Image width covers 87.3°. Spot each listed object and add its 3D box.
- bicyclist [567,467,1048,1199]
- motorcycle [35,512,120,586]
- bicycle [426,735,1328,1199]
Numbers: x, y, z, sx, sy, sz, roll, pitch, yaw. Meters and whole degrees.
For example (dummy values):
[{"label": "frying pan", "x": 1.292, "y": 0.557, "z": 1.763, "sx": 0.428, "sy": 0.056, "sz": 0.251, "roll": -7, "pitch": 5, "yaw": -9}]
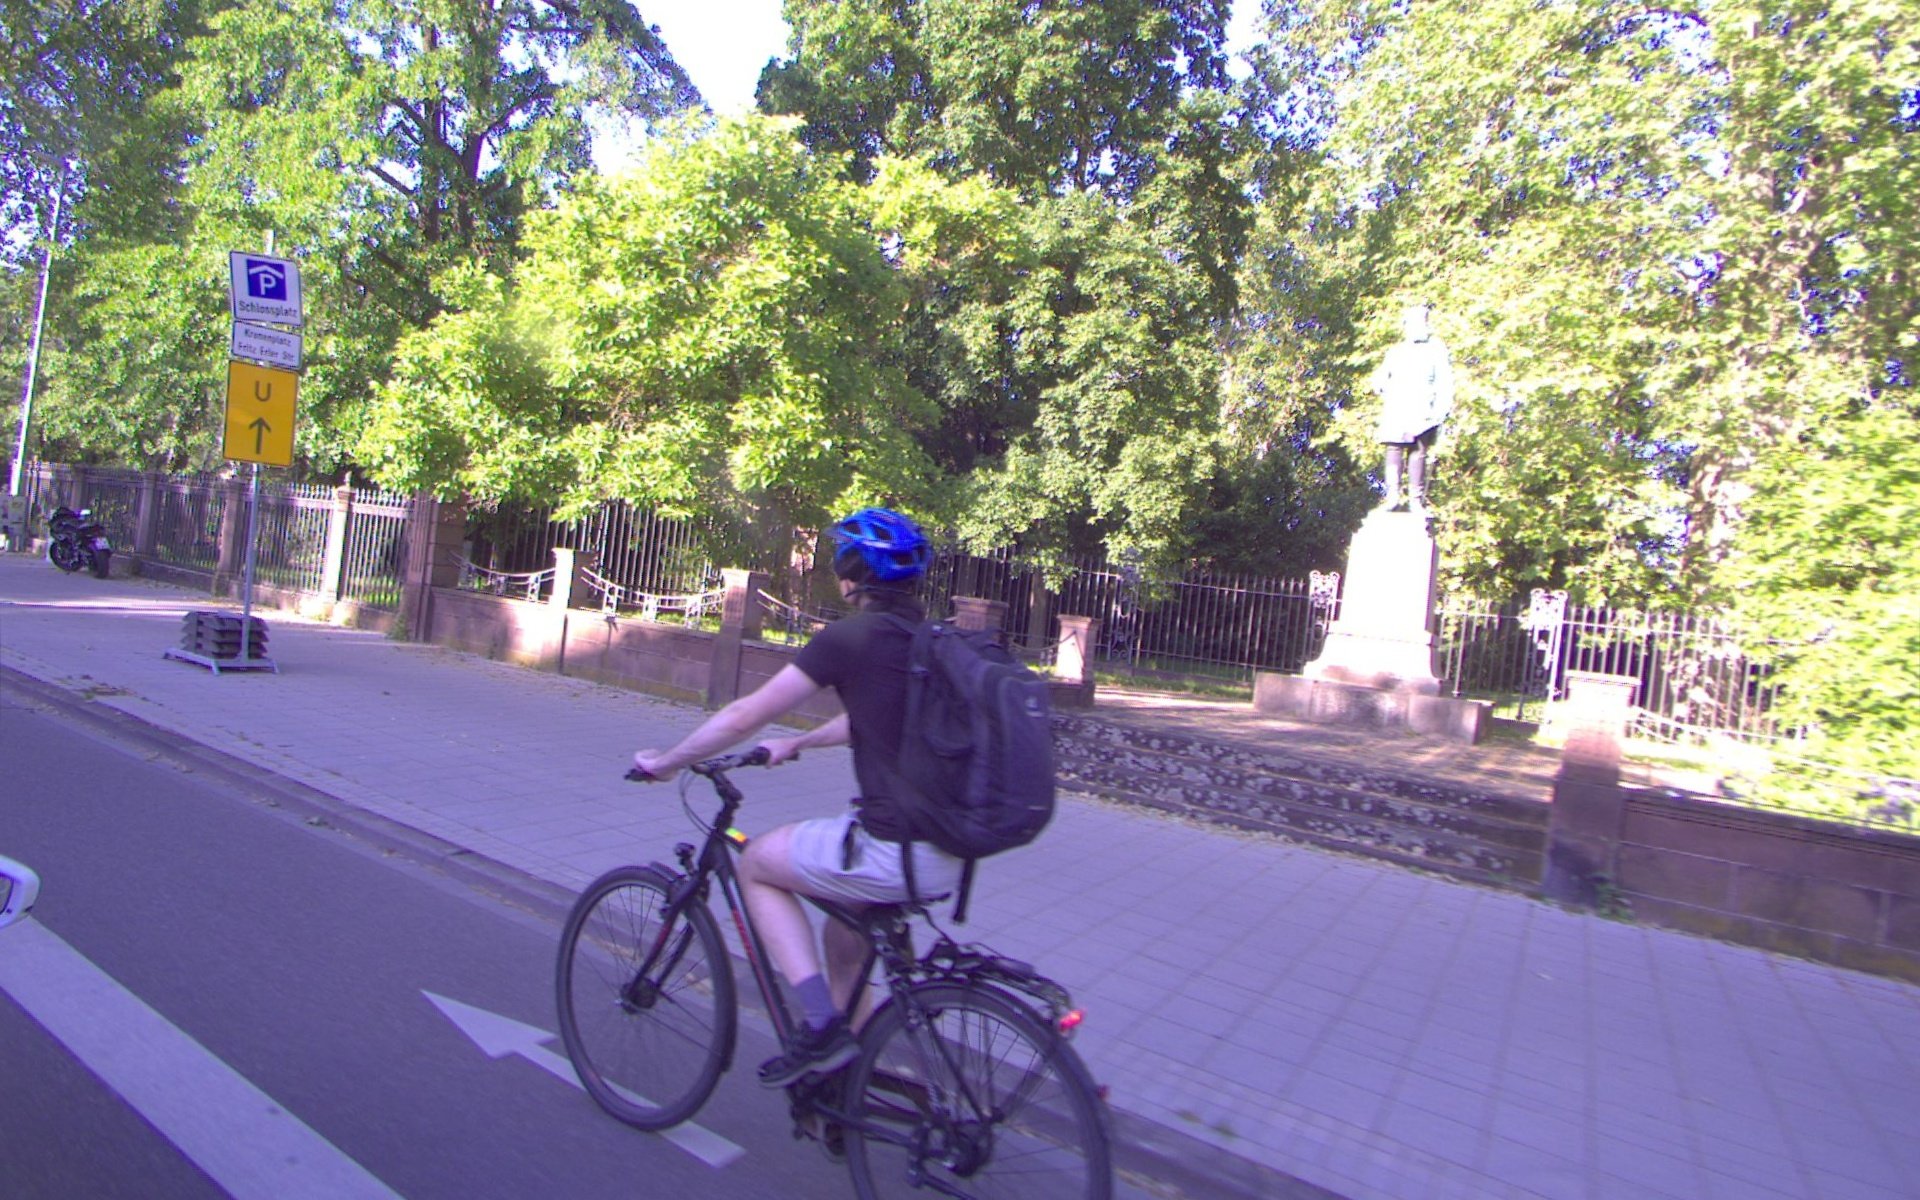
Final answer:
[{"label": "bicyclist", "x": -0.350, "y": 0.558, "z": 2.476, "sx": 0.709, "sy": 1.620, "sz": 0.666, "roll": 7, "pitch": -1, "yaw": 31}, {"label": "motorcycle", "x": -15.986, "y": -0.936, "z": 18.205, "sx": 2.135, "sy": 1.146, "sz": 0.506, "roll": 6, "pitch": 1, "yaw": 32}, {"label": "bicycle", "x": -0.310, "y": 1.010, "z": 2.411, "sx": 2.046, "sy": 1.021, "sz": 0.670, "roll": 7, "pitch": -1, "yaw": 32}]
